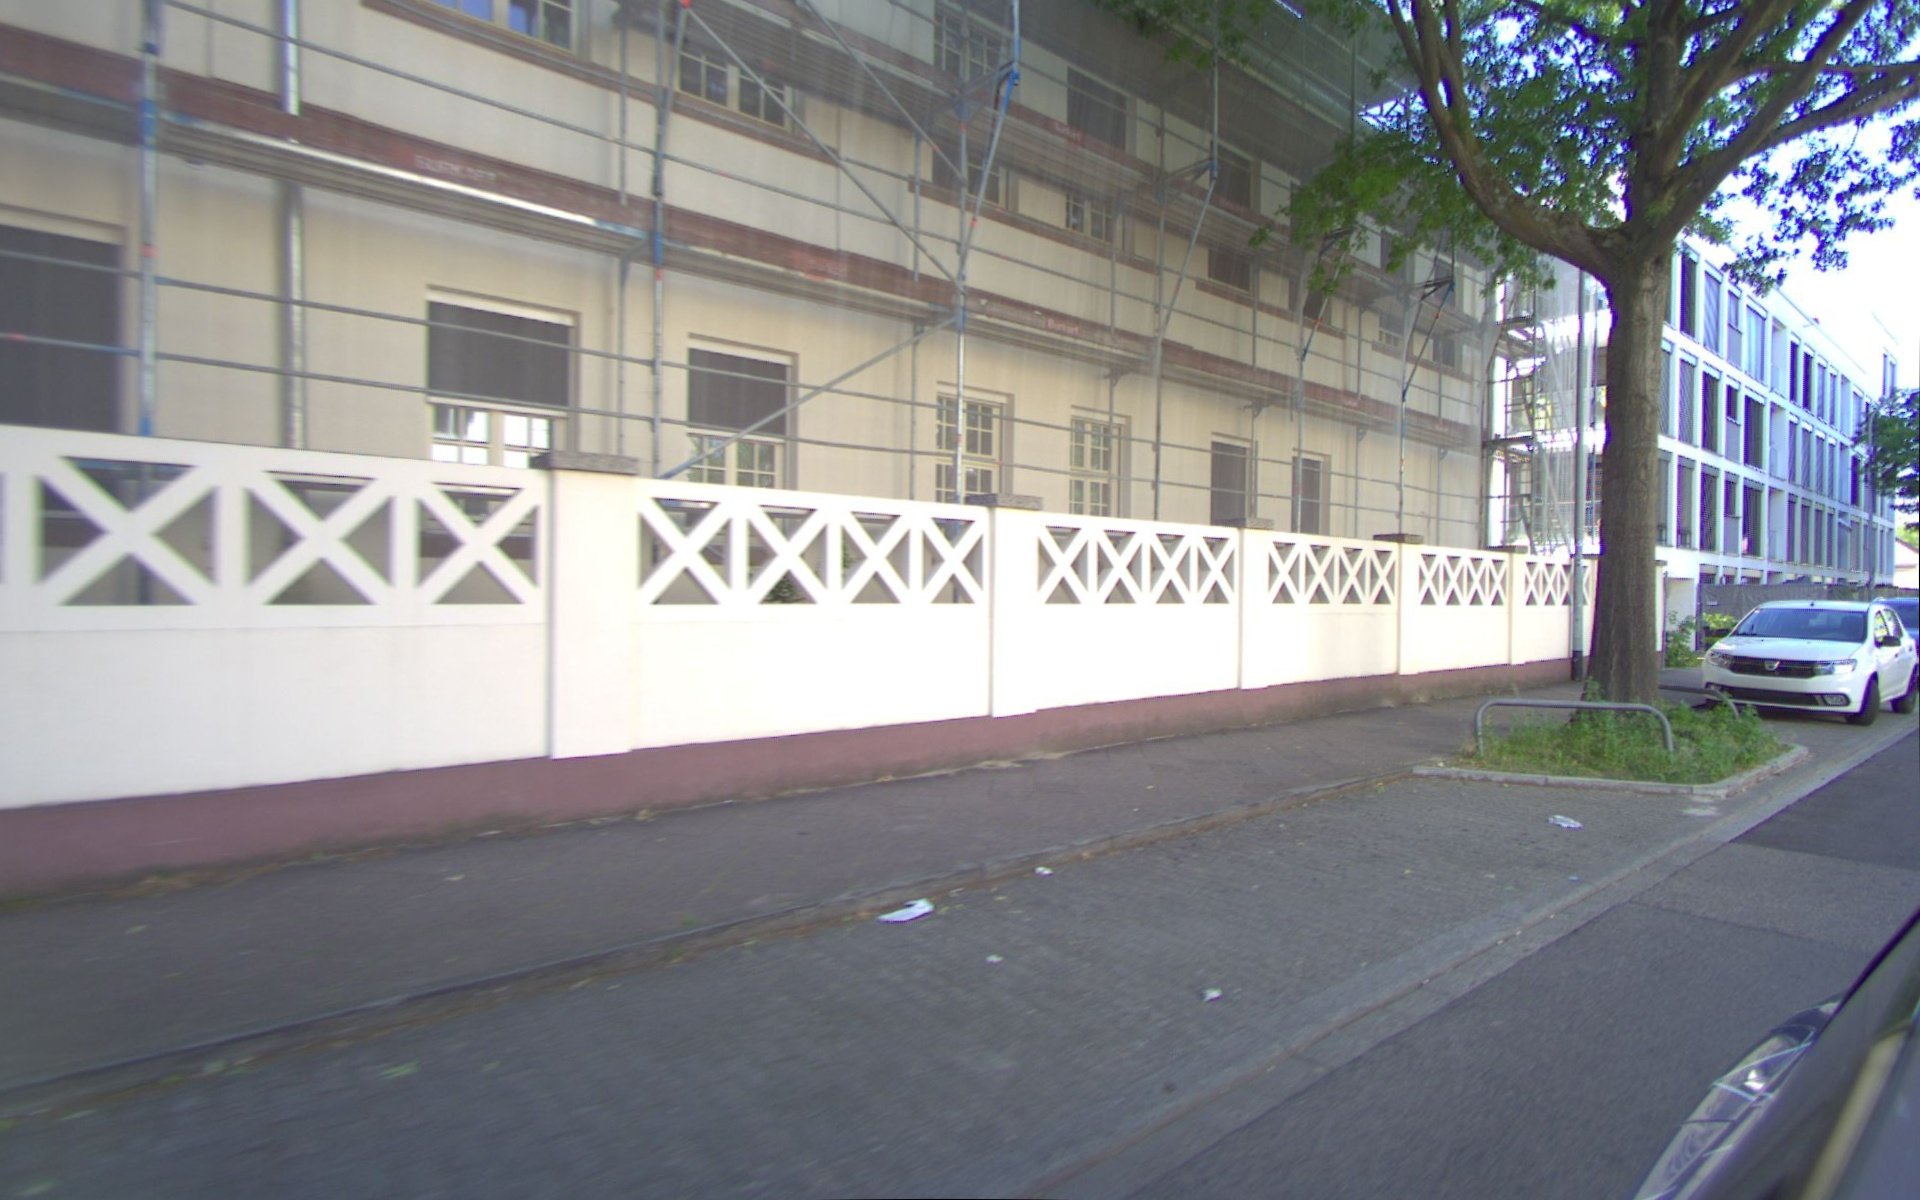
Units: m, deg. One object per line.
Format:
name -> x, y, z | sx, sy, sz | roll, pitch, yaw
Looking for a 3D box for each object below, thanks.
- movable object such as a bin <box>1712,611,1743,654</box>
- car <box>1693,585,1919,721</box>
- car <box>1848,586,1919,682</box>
movable object such as a bin -> 17.896, 0.744, 23.589 | 0.501, 0.976, 0.435 | 0, -1, -36
car -> 11.630, 0.618, 13.658 | 3.918, 1.529, 1.729 | 1, 2, -37
car -> 18.199, 0.603, 19.091 | 4.229, 1.659, 1.714 | 0, 1, -42
